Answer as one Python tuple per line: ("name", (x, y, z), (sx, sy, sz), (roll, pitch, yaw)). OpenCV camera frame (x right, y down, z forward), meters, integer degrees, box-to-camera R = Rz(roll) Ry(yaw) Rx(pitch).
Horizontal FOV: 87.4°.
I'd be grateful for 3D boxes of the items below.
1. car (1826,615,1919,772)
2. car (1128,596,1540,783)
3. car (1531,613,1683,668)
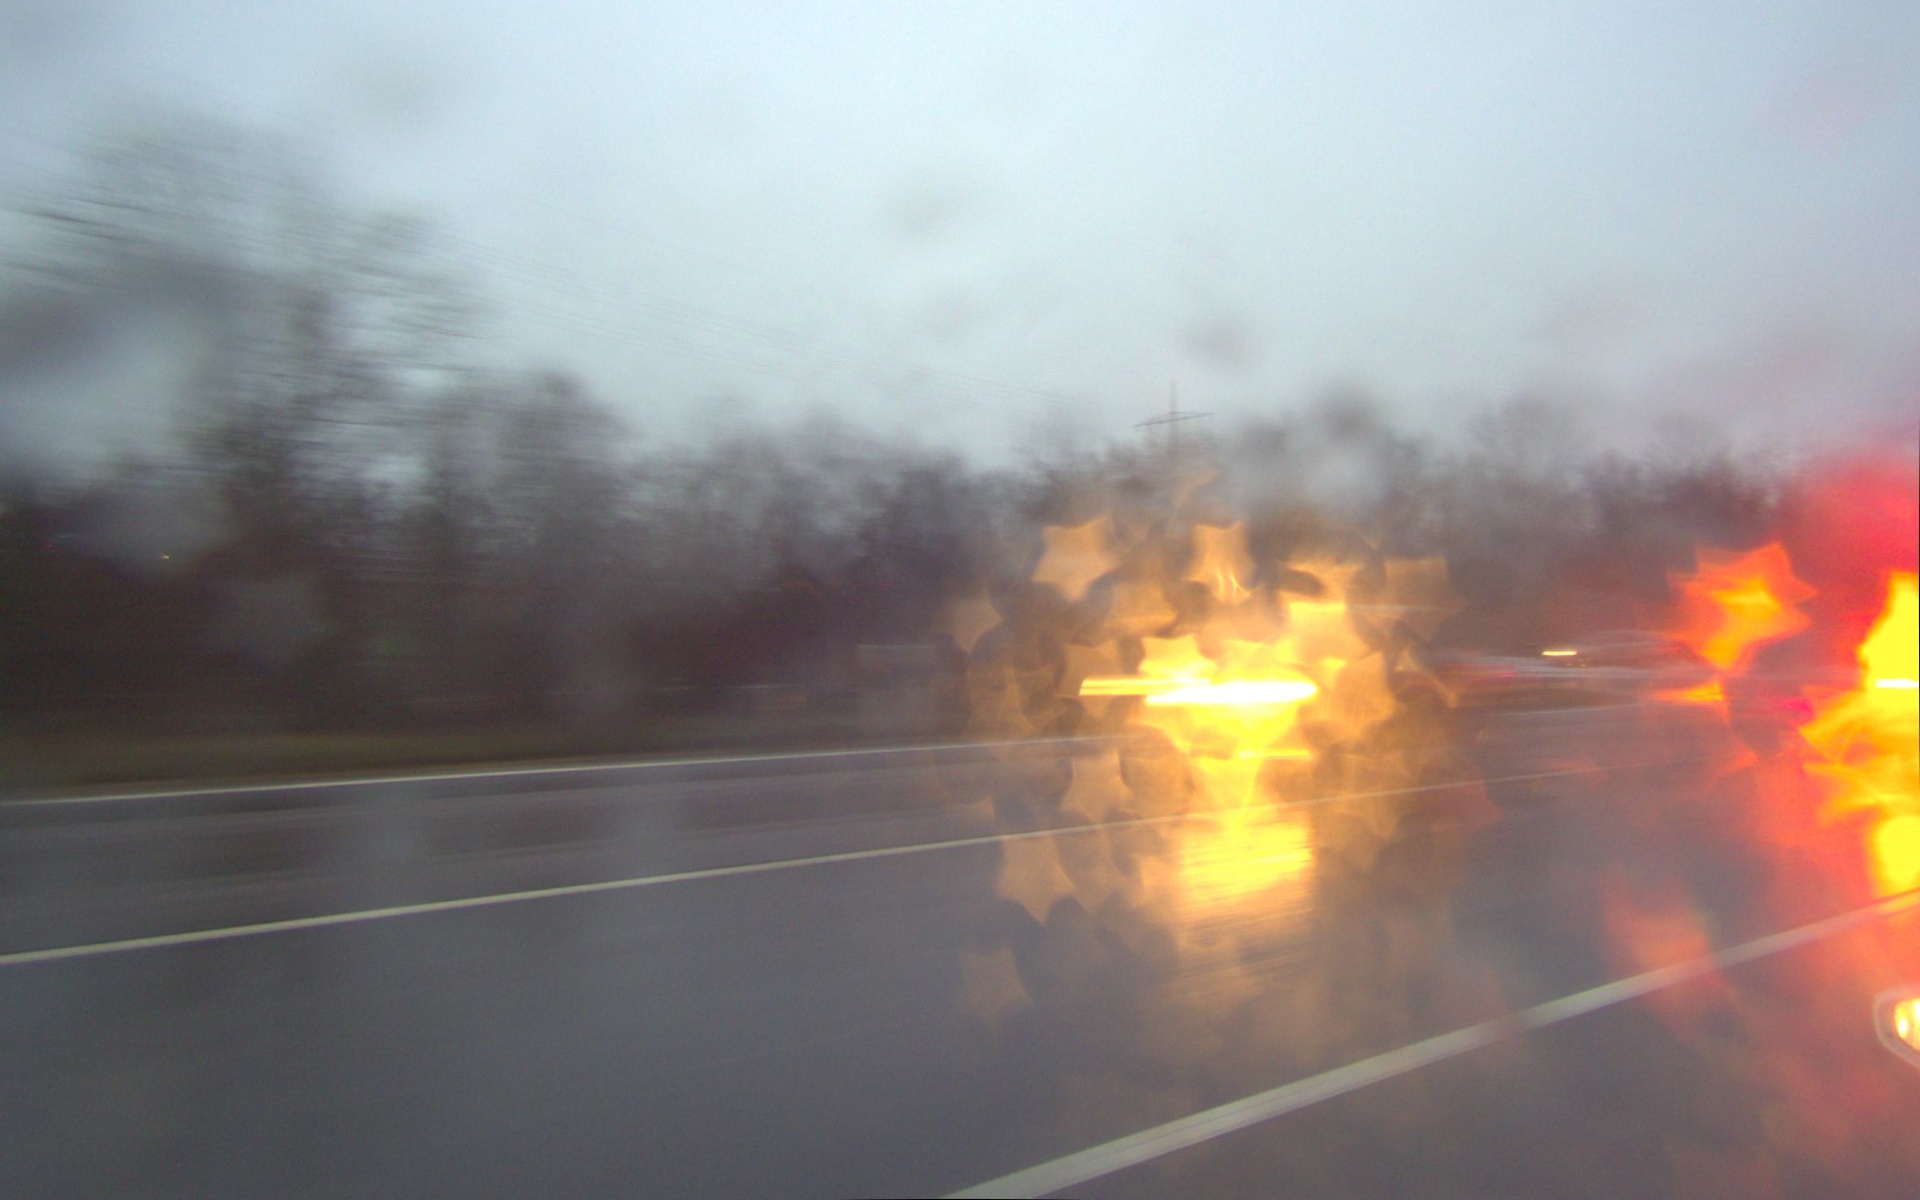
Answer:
("car", (11.923, 1.048, 11.182), (4.462, 1.576, 1.996), (2, 1, -29))
("car", (3.965, 0.827, 10.420), (4.330, 1.577, 1.637), (2, 0, -31))
("car", (26.089, 1.581, 40.720), (4.715, 1.779, 1.957), (4, 2, 18))
